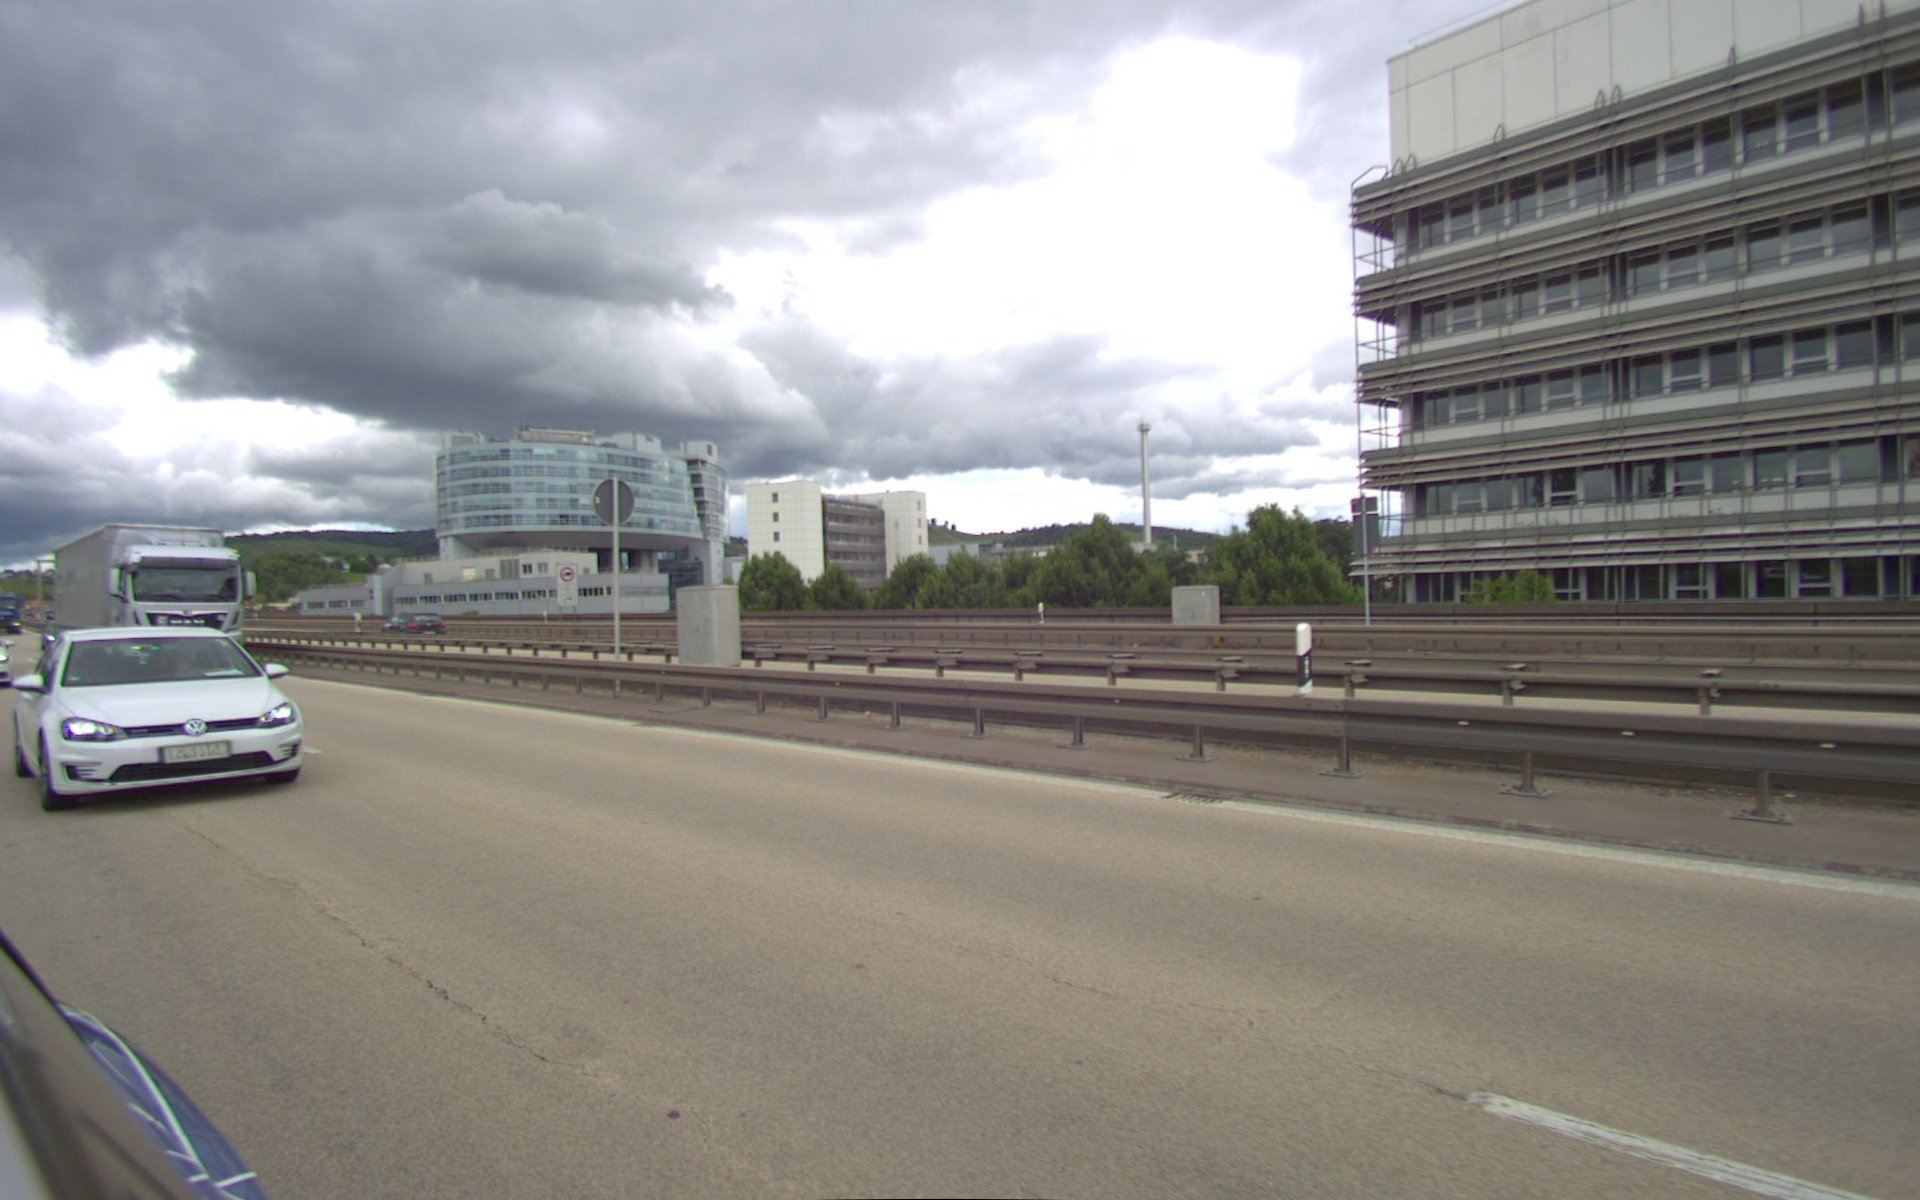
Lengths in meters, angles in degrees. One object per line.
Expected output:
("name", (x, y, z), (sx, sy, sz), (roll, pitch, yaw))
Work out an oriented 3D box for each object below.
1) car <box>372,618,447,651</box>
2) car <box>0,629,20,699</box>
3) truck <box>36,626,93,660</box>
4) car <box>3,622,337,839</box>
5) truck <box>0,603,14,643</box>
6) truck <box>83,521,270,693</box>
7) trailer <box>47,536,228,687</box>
("car", (-25.111, 1.543, 46.123), (4.231, 1.387, 1.767), (-1, 1, 44))
("car", (-23.221, 1.478, 23.419), (4.062, 1.519, 1.904), (-1, 1, 44))
("truck", (-43.367, 2.053, 48.998), (3.514, 1.541, 1.805), (-1, -1, 44))
("car", (-7.478, 0.989, 9.429), (4.062, 1.519, 1.904), (-1, -1, 44))
("truck", (-80.415, 1.928, 84.122), (6.688, 3.262, 2.305), (-1, -1, 44))
("truck", (-20.989, 0.145, 27.010), (5.690, 4.067, 3.099), (-1, 1, 44))
("trailer", (-26.749, 0.347, 32.587), (11.769, 4.056, 3.146), (-1, 1, 44))
